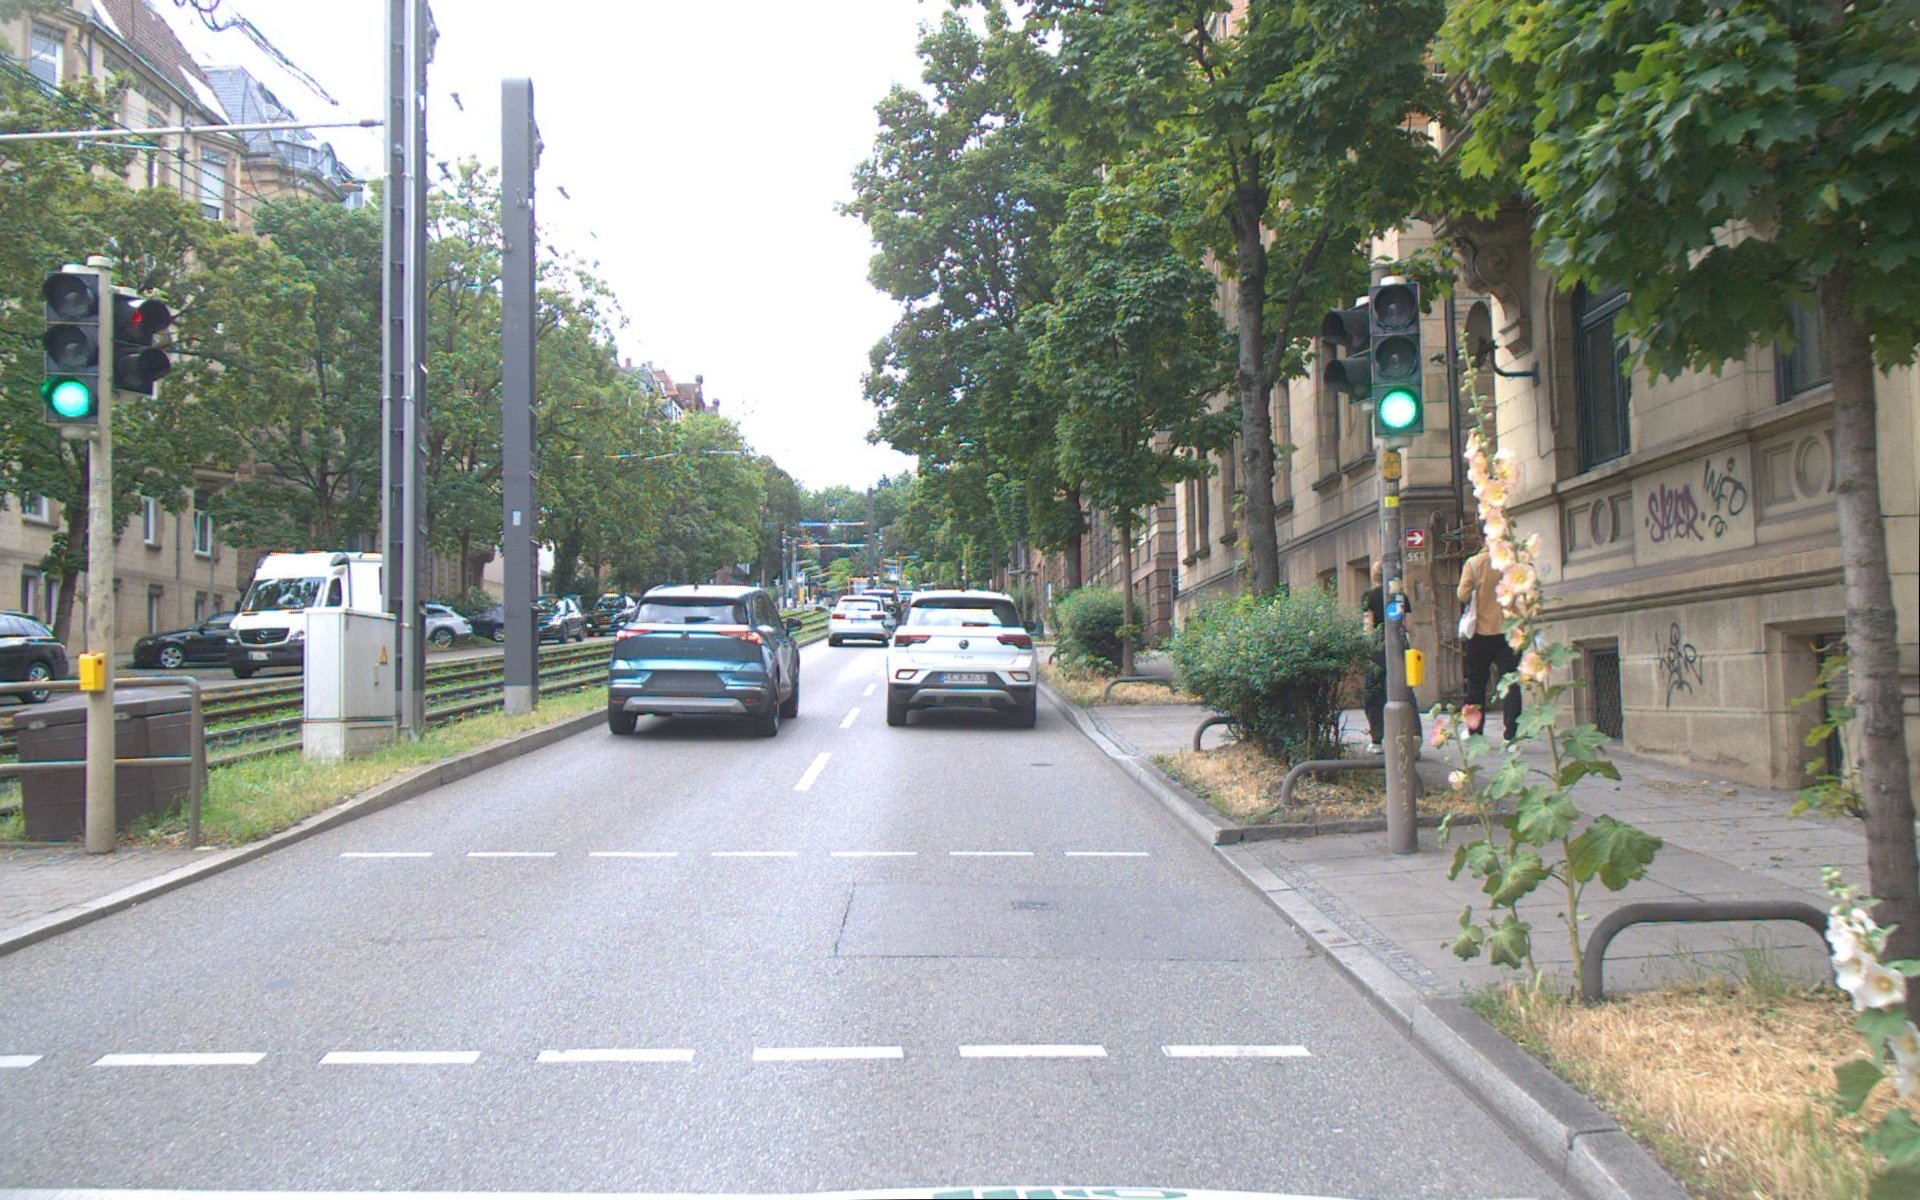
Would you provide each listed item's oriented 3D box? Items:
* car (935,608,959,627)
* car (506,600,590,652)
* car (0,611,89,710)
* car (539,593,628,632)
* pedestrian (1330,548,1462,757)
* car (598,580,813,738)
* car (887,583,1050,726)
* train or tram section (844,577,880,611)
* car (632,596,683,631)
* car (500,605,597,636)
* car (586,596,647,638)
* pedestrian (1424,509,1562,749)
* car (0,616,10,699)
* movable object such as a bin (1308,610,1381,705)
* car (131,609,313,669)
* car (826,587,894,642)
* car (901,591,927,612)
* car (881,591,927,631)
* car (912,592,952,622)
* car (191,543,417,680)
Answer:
[{"bbox_3d":[-1.116,1.457,139.536,2.026,1.573,4.193,0,0,-1],"label":"car"},{"bbox_3d":[-14.571,0.878,58.760,1.842,1.679,4.469,-3,0,-1],"label":"car"},{"bbox_3d":[-15.315,0.968,24.695,1.711,1.453,4.752,-2,0,6],"label":"car"},{"bbox_3d":[-19.297,0.618,84.828,4.130,1.868,1.854,-1,0,-28],"label":"car"},{"bbox_3d":[3.543,0.404,13.522,0.672,1.601,1.216,-3,0,-1],"label":"pedestrian"},{"bbox_3d":[-2.726,0.597,18.623,1.798,1.573,4.193,0,0,0],"label":"car"},{"bbox_3d":[0.033,0.612,20.420,1.798,1.573,4.192,0,0,-2],"label":"car"},{"bbox_3d":[-10.443,-0.581,177.110,2.934,3.407,13.438,-1,0,0],"label":"train or tram section"},{"bbox_3d":[-15.179,0.668,83.230,1.744,1.645,4.345,-3,0,-1],"label":"car"},{"bbox_3d":[-19.586,0.955,78.823,4.135,1.363,1.852,-1,0,-31],"label":"car"},{"bbox_3d":[-14.876,0.709,71.911,1.744,1.685,4.242,-3,0,-1],"label":"car"},{"bbox_3d":[4.358,0.230,13.602,0.672,1.861,1.121,-3,-1,-1],"label":"pedestrian"},{"bbox_3d":[-18.709,1.038,28.545,3.949,1.447,1.766,-1,0,-33],"label":"car"},{"bbox_3d":[4.493,0.666,19.337,0.657,1.033,0.582,-3,2,-3],"label":"movable object such as a bin"},{"bbox_3d":[-18.968,0.974,42.561,4.128,1.388,1.694,-1,0,-31],"label":"car"},{"bbox_3d":[-2.933,0.420,49.412,1.798,1.573,4.193,0,0,0],"label":"car"},{"bbox_3d":[-3.608,0.109,129.886,2.026,1.573,4.192,0,0,-2],"label":"car"},{"bbox_3d":[-2.278,0.437,68.117,1.798,1.573,4.193,0,0,0],"label":"car"},{"bbox_3d":[-1.543,0.400,89.400,2.027,1.573,4.191,0,0,-2],"label":"car"},{"bbox_3d":[-14.829,0.243,37.944,2.343,2.746,6.519,-3,0,1],"label":"car"}]
